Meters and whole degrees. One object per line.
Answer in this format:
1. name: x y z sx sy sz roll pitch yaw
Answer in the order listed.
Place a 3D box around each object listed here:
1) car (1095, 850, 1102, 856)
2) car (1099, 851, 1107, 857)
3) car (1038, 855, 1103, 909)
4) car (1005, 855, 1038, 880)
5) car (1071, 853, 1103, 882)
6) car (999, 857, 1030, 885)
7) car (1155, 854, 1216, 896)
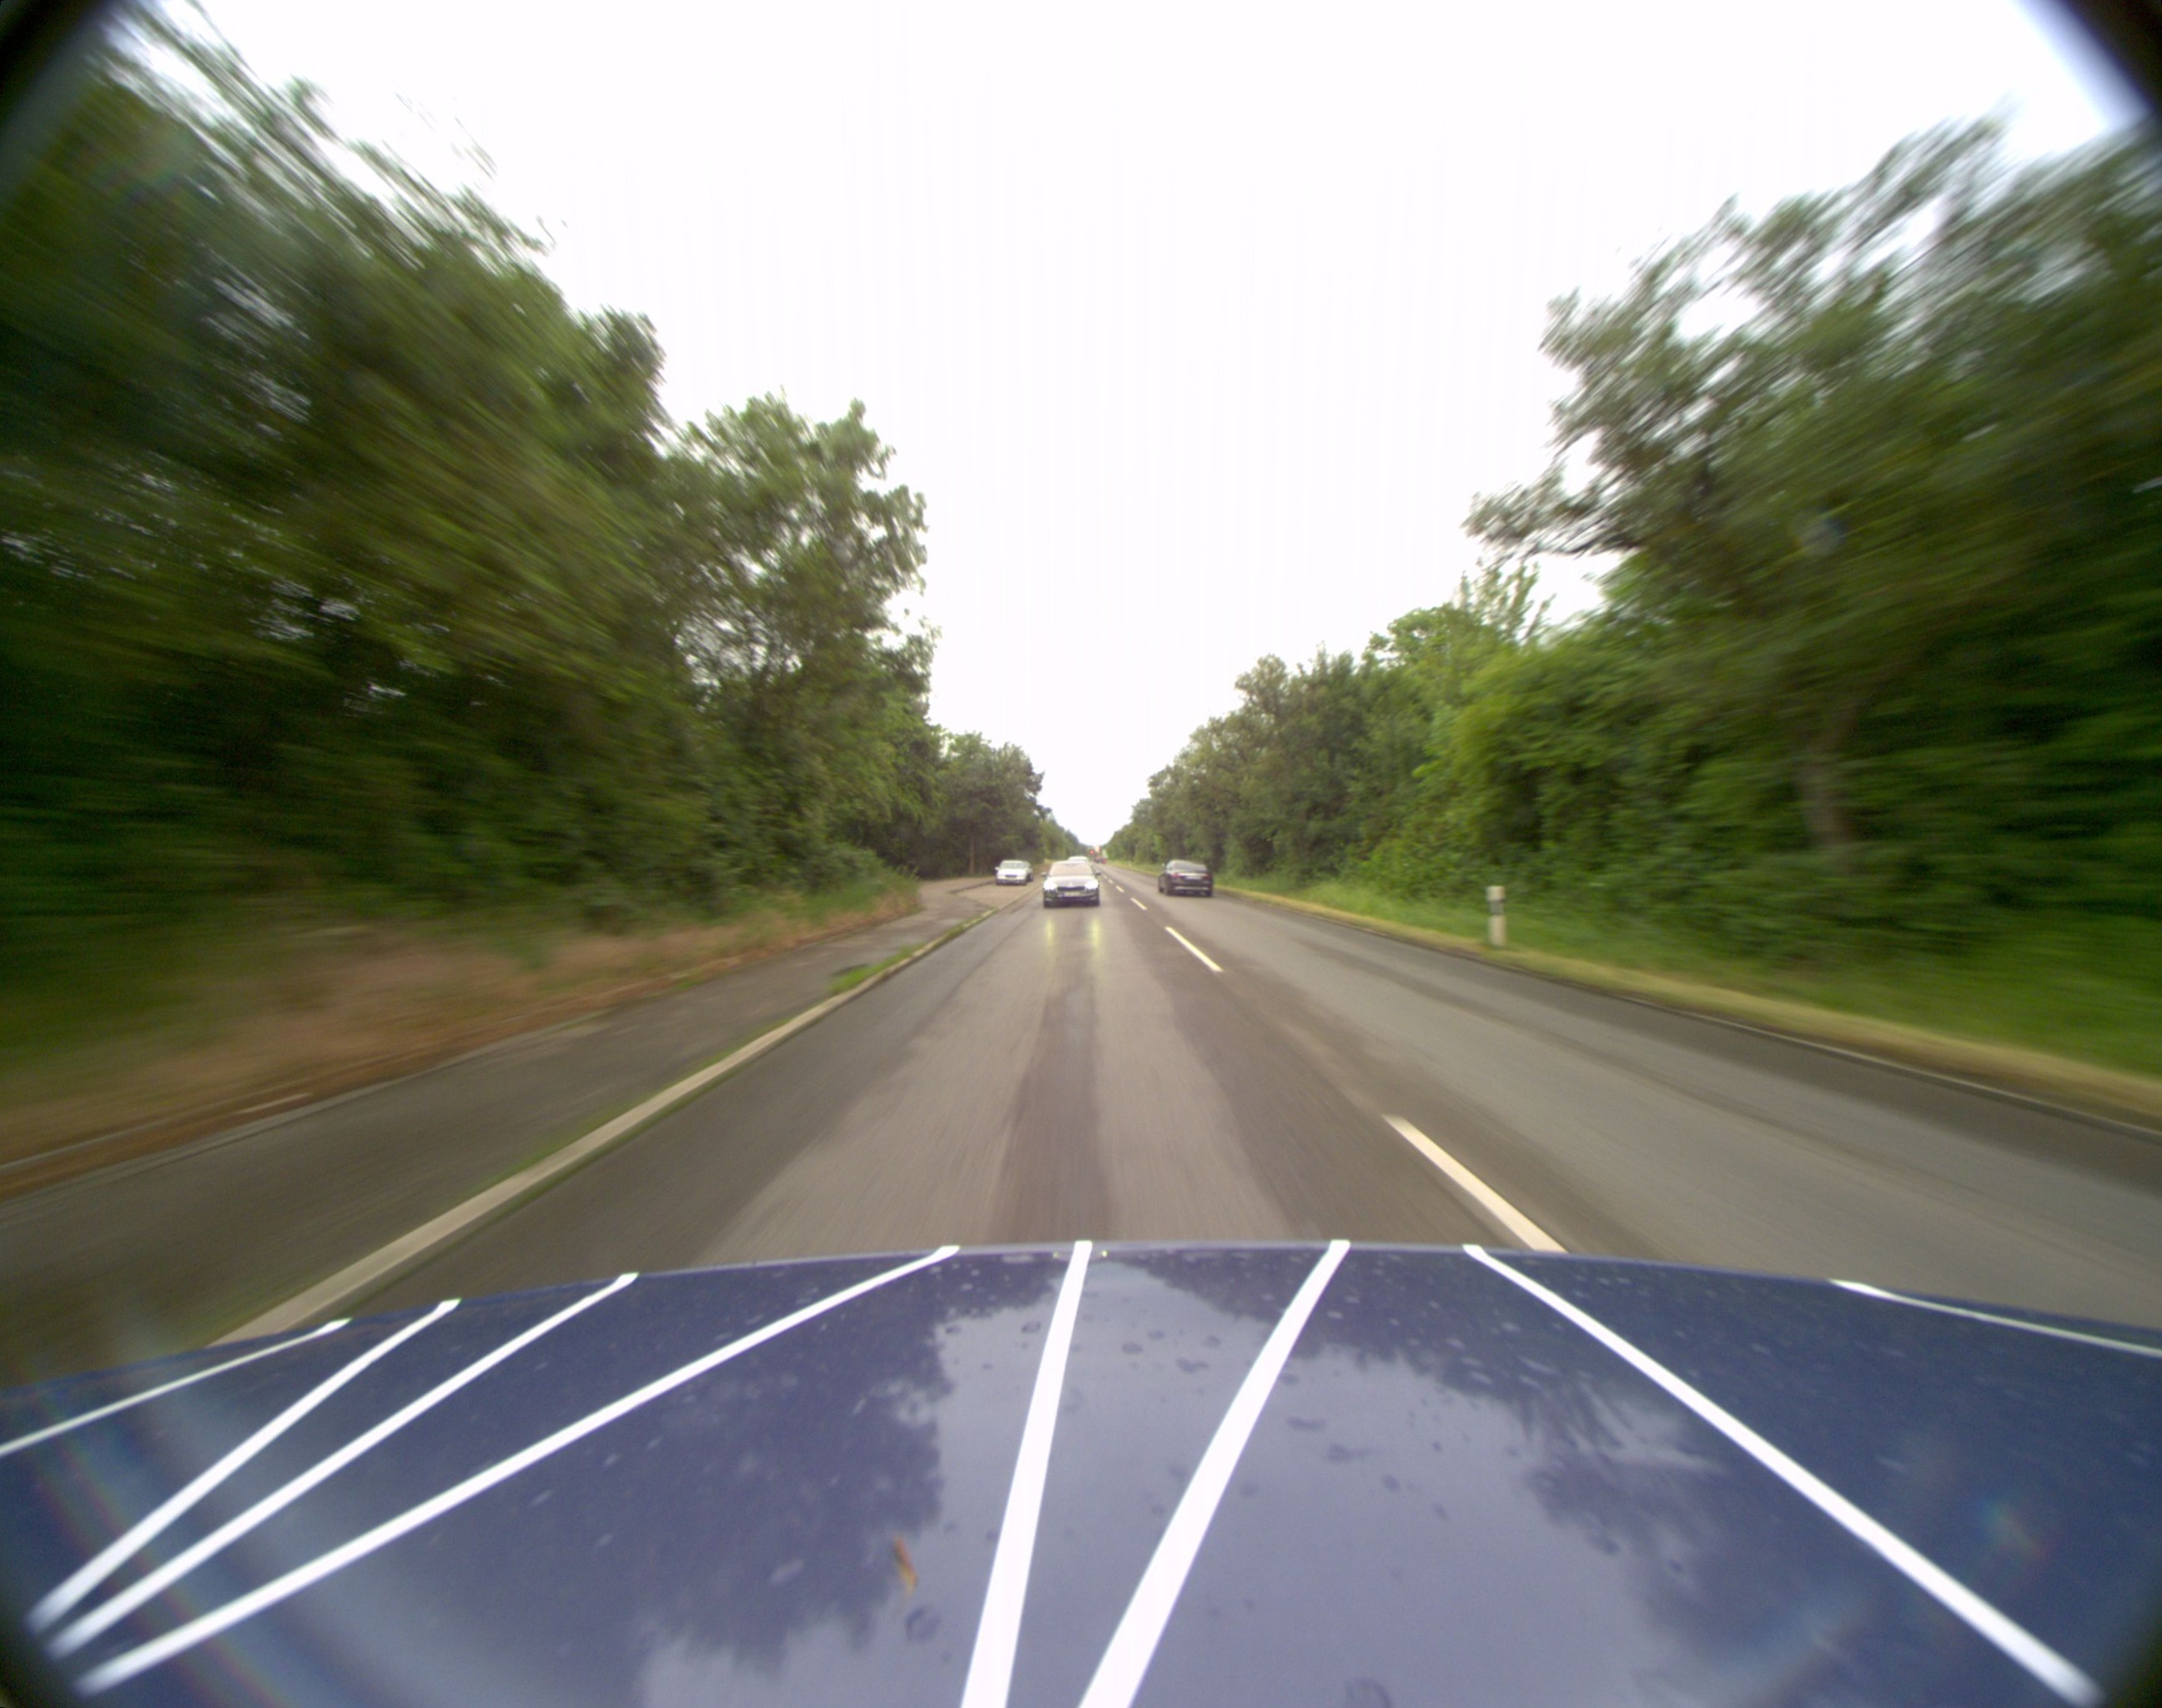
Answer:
1. car: 5.278 -0.305 227.670 1.793 1.465 3.623 1 1 0
2. car: 5.658 -0.070 193.607 1.793 1.465 3.623 1 1 0
3. car: -0.321 0.857 25.348 1.915 1.543 4.354 -3 1 0
4. car: -3.957 0.880 51.314 1.810 1.501 4.666 2 1 0
5. car: 0.376 0.854 49.233 1.915 1.691 3.913 -3 1 0
6. car: -3.919 0.968 45.084 1.749 1.460 4.218 1 1 -4
7. car: 4.255 0.810 31.545 1.876 1.480 4.573 2 1 0
